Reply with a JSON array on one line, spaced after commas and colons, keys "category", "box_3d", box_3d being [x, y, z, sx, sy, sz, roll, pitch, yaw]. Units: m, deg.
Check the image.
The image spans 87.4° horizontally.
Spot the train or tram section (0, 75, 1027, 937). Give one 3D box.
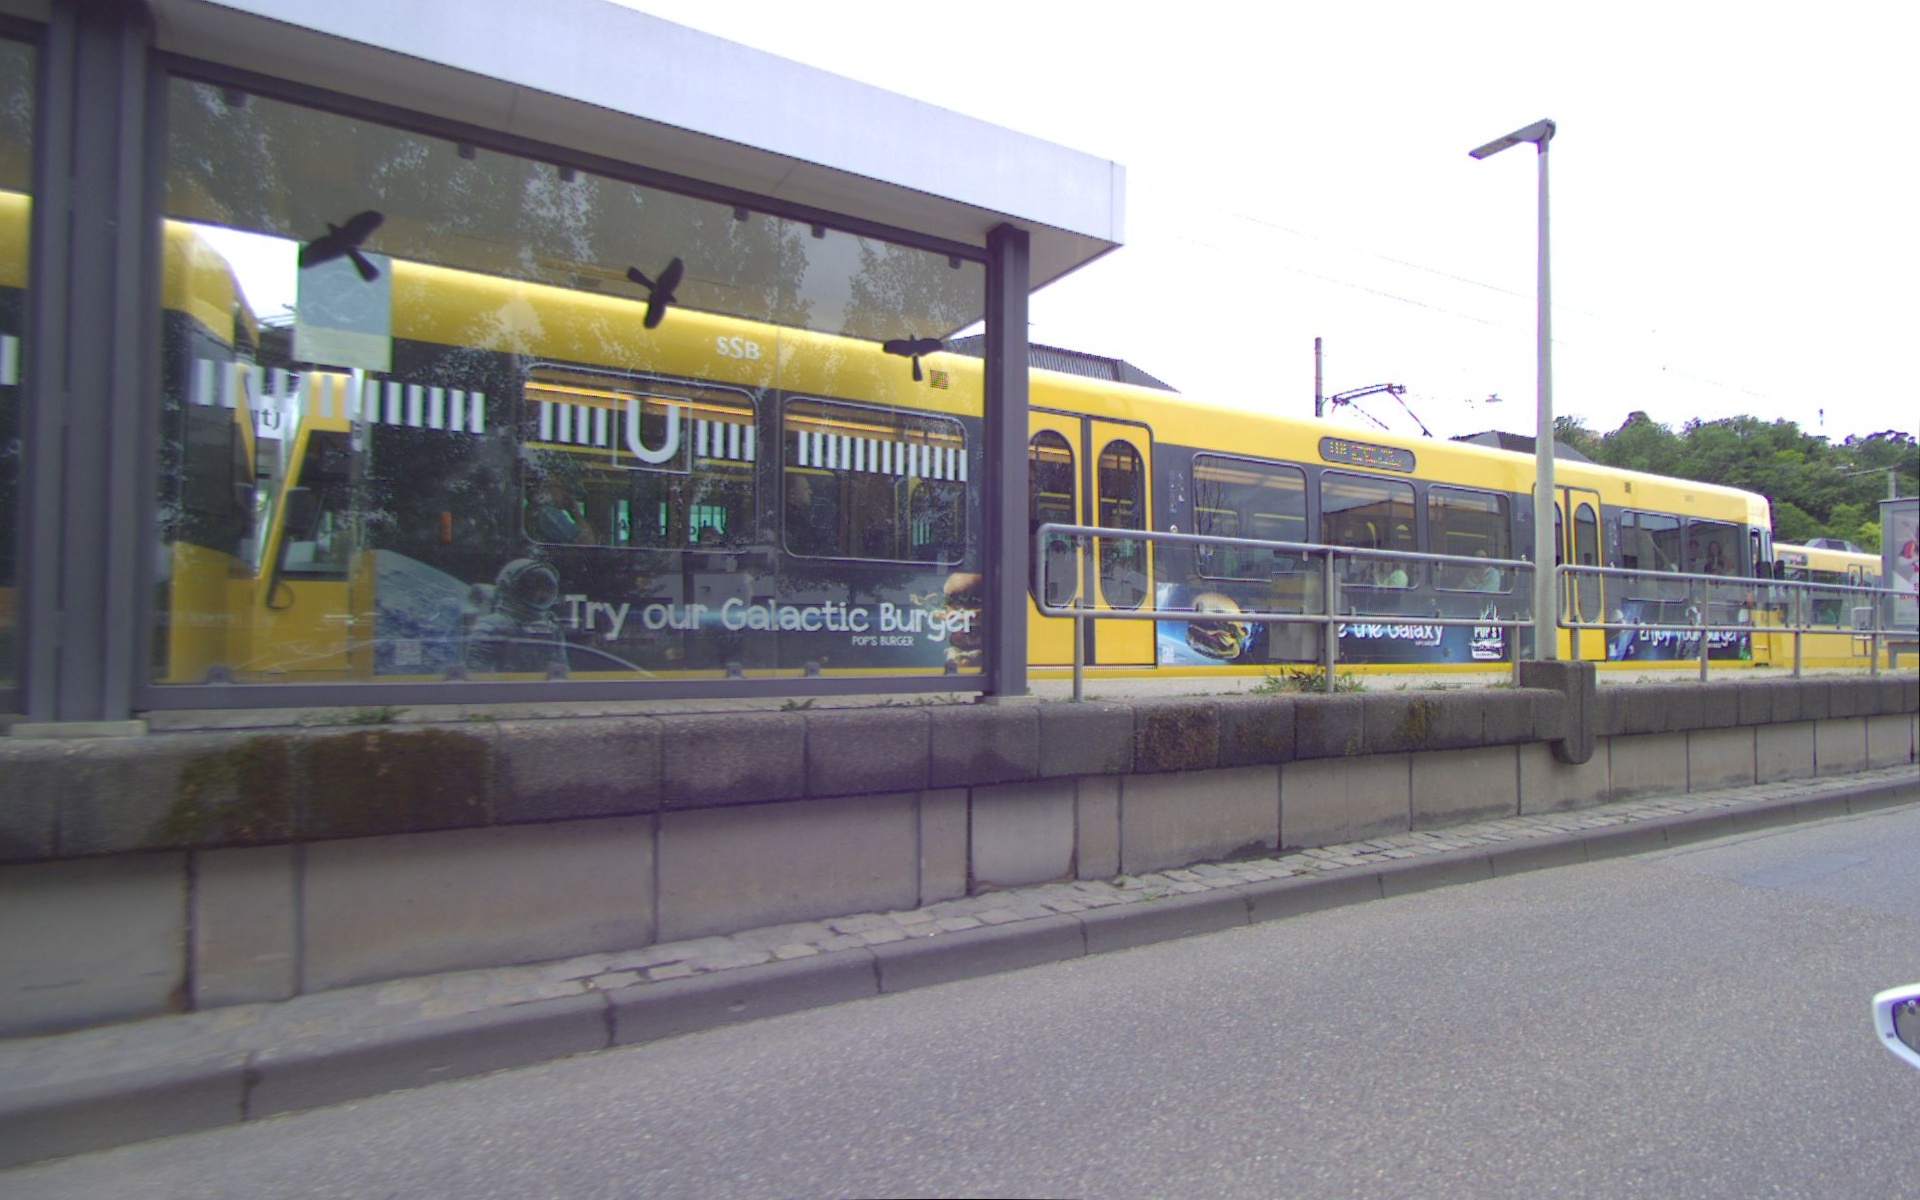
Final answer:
[{"category": "train or tram section", "box_3d": [-5.228, -0.414, 5.810, 11.773, 4.019, 2.727, 1, -2, -31]}]

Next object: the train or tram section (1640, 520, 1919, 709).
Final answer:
[{"category": "train or tram section", "box_3d": [19.417, 0.453, 23.569, 9.071, 3.845, 1.984, 2, -2, -30]}]

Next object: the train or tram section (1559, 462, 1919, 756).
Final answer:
[{"category": "train or tram section", "box_3d": [15.034, 0.218, 17.963, 10.078, 4.119, 2.957, 1, -2, -31]}]

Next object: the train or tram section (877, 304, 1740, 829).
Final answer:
[{"category": "train or tram section", "box_3d": [4.899, -0.161, 11.897, 11.773, 4.019, 2.727, 1, -2, -31]}]
